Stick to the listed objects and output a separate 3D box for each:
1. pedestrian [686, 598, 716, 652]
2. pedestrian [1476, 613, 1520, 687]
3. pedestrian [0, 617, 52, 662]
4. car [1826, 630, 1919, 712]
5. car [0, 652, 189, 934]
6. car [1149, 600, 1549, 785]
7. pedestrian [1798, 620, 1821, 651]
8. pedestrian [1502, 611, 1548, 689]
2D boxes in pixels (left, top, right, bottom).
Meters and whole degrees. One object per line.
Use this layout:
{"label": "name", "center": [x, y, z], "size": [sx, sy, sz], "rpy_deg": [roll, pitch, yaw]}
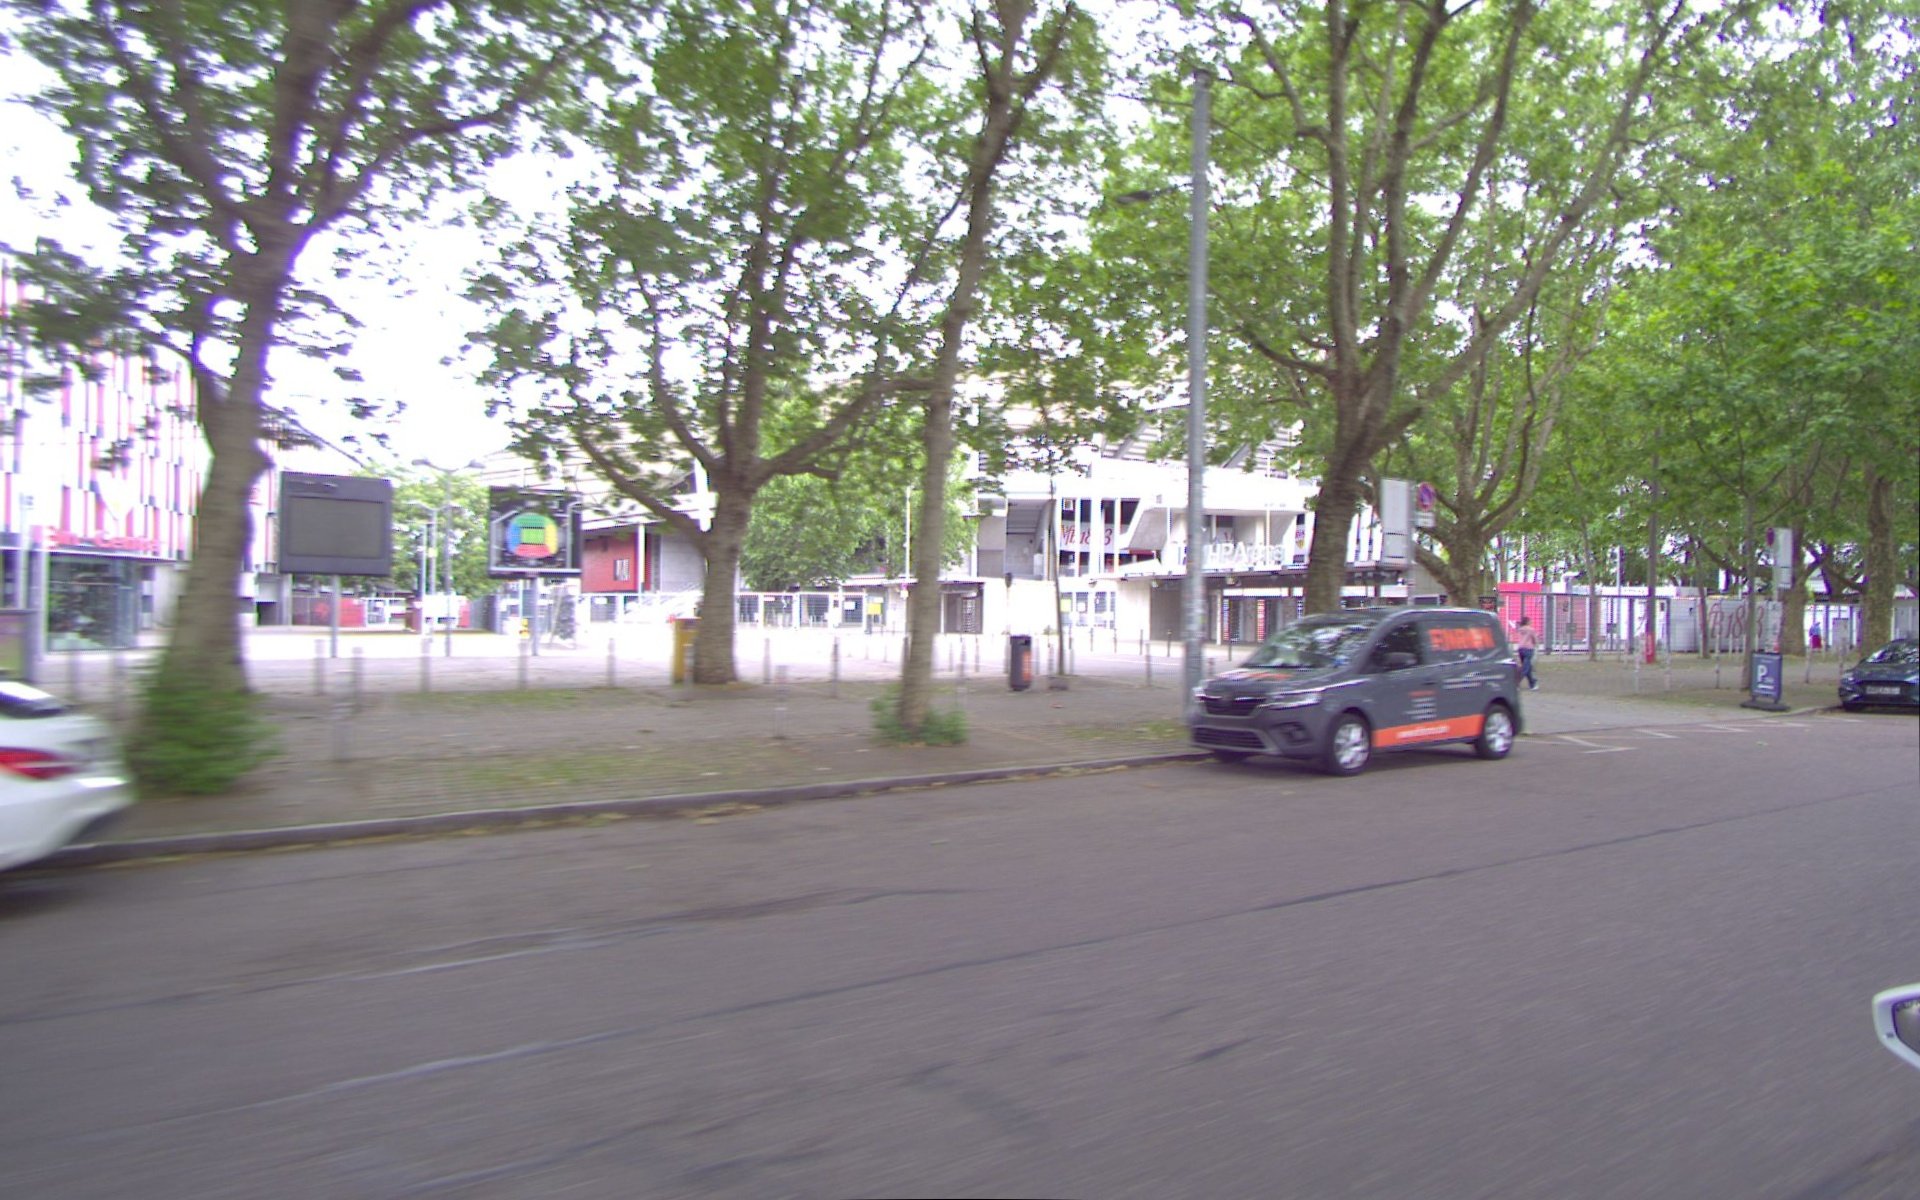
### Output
{"label": "pedestrian", "center": [-8.372, 0.796, 32.422], "size": [0.798, 1.714, 0.722], "rpy_deg": [1, -1, -26]}
{"label": "pedestrian", "center": [13.024, 1.205, 24.336], "size": [0.755, 1.765, 0.575], "rpy_deg": [1, 0, -15]}
{"label": "pedestrian", "center": [-31.490, 1.329, 33.878], "size": [1.098, 1.481, 1.038], "rpy_deg": [1, -1, -32]}
{"label": "car", "center": [19.626, 1.383, 20.402], "size": [4.520, 1.506, 1.716], "rpy_deg": [1, -1, -30]}
{"label": "car", "center": [-6.960, 1.014, 4.996], "size": [4.695, 1.421, 1.896], "rpy_deg": [1, -4, -30]}
{"label": "car", "center": [4.584, 0.956, 11.675], "size": [4.585, 1.773, 1.940], "rpy_deg": [1, -2, -31]}
{"label": "pedestrian", "center": [42.623, 1.776, 50.404], "size": [0.652, 1.564, 0.664], "rpy_deg": [1, 0, -29]}
{"label": "pedestrian", "center": [13.319, 1.171, 23.674], "size": [0.755, 1.793, 0.577], "rpy_deg": [1, 0, -15]}
